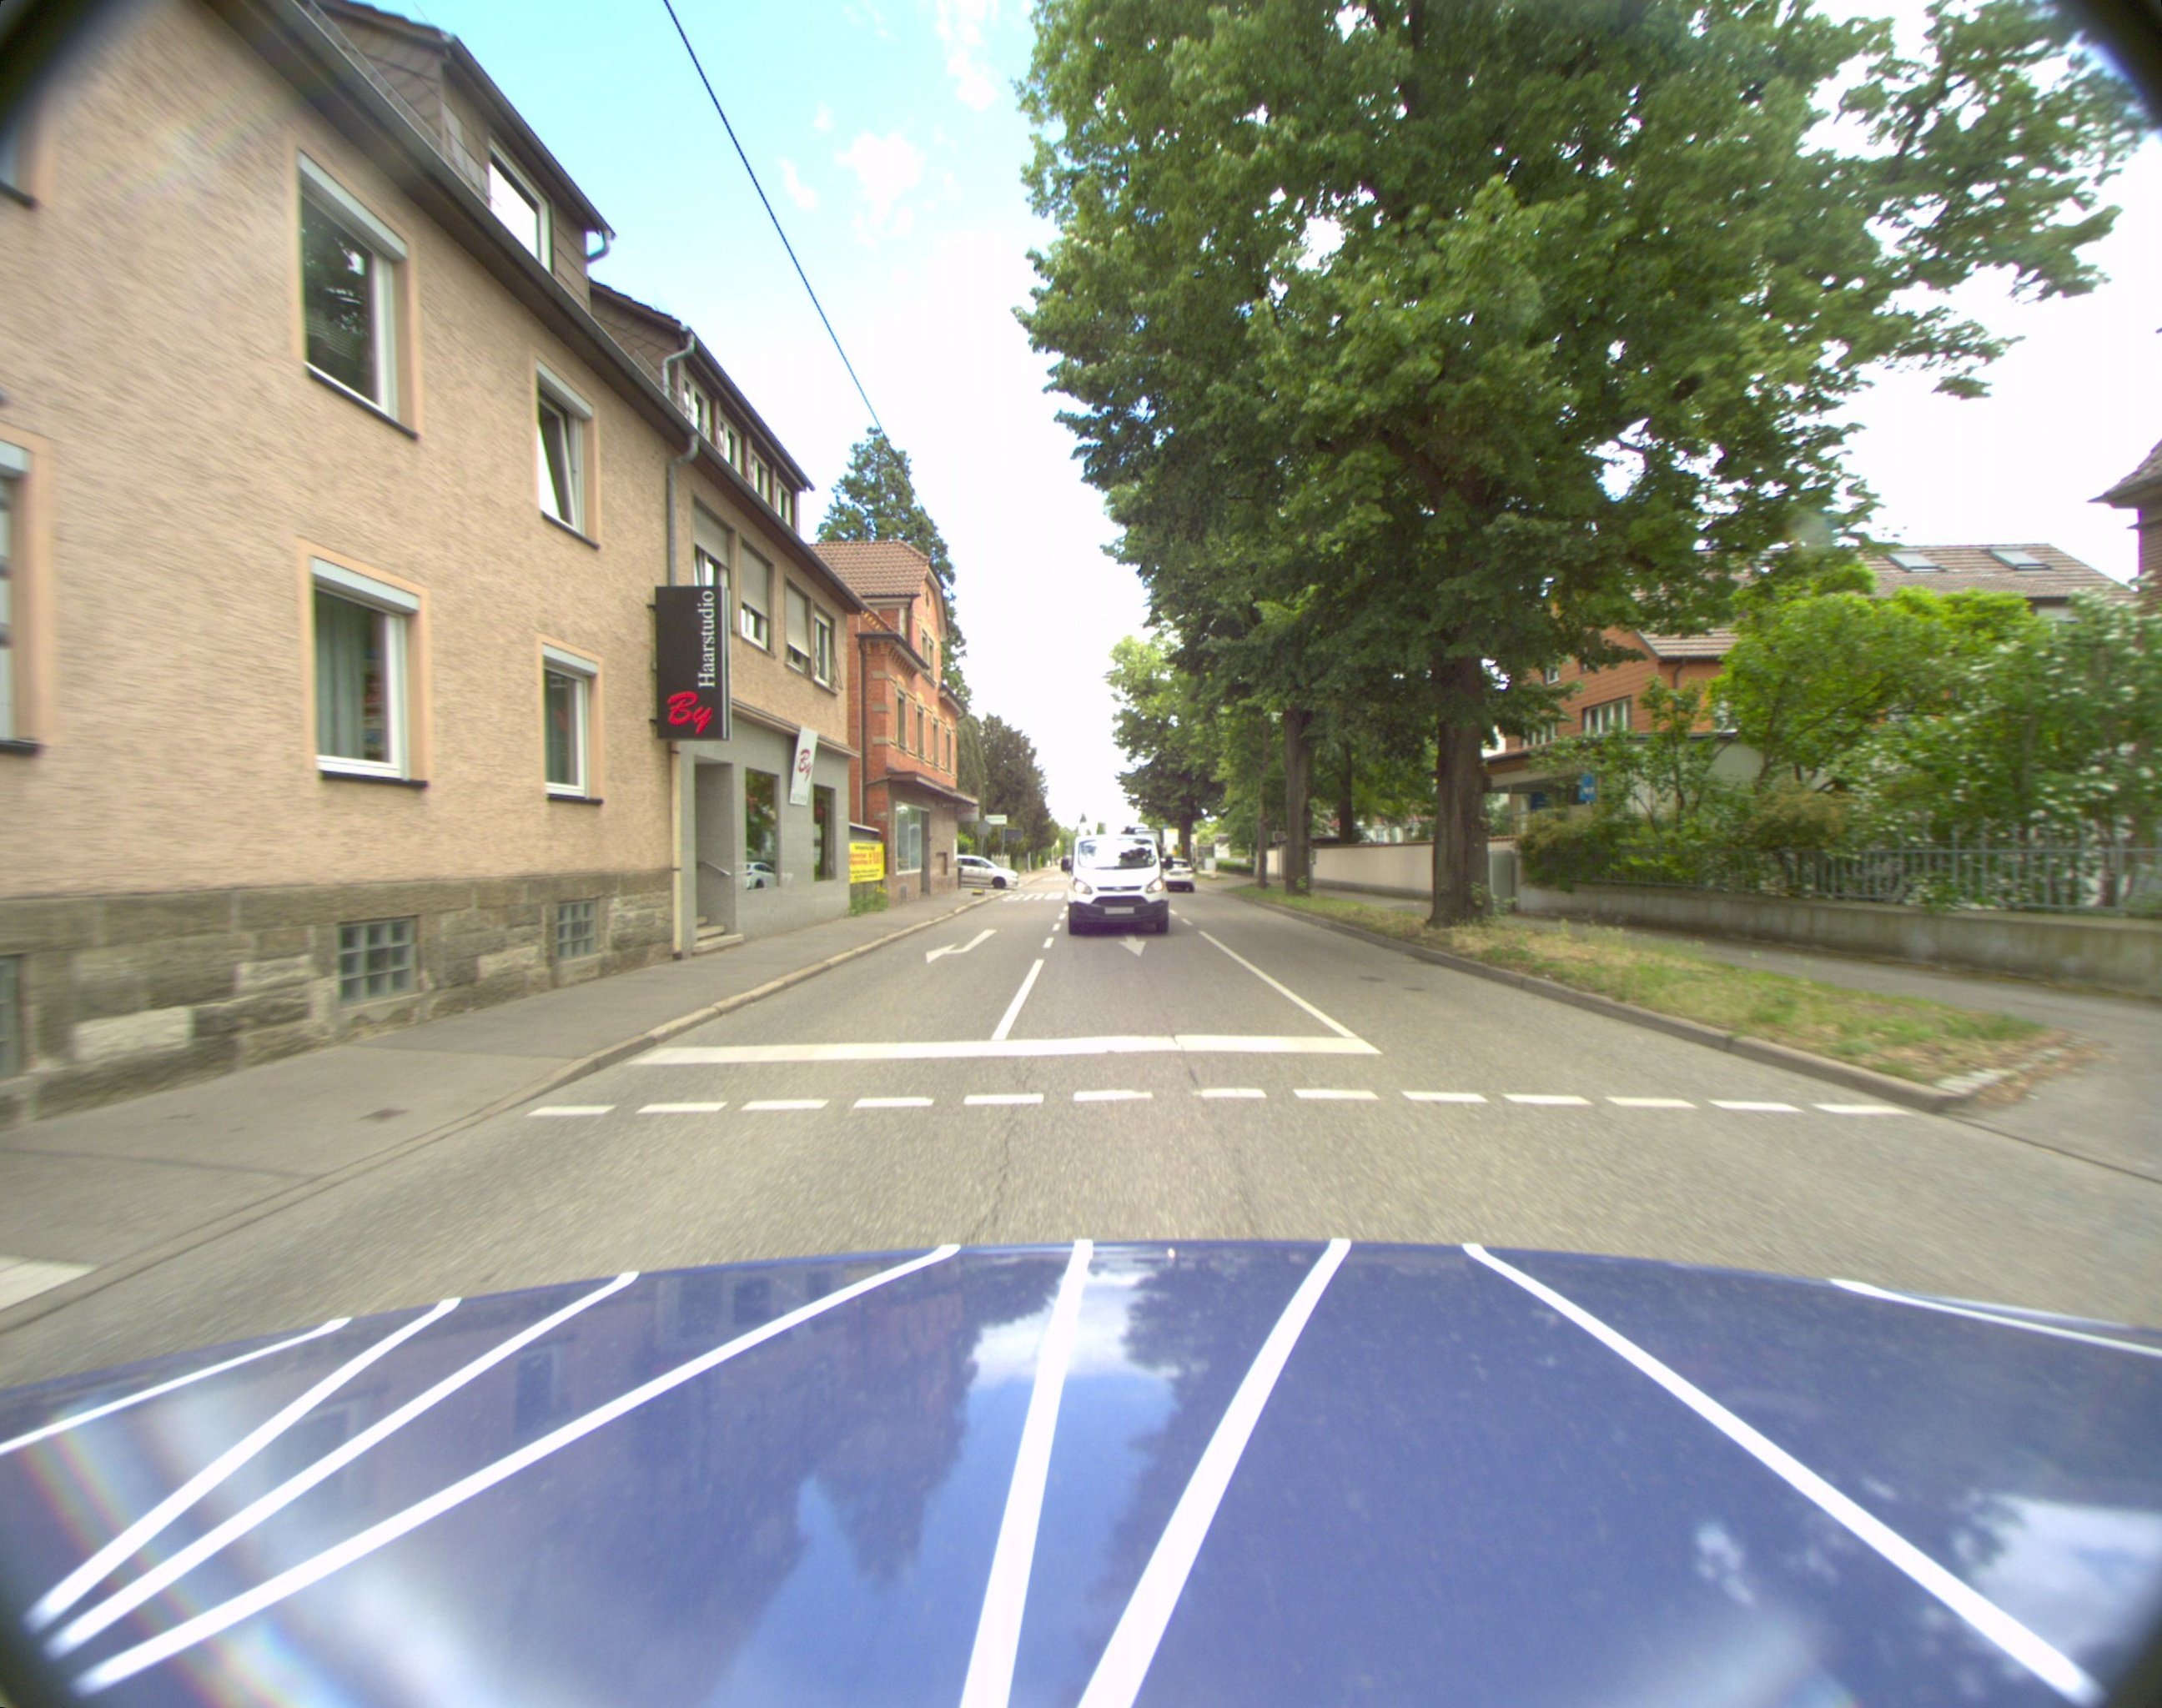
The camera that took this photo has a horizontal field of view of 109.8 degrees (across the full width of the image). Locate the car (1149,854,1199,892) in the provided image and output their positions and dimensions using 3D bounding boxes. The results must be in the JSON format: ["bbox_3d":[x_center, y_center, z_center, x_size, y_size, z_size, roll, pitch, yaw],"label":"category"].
[{"bbox_3d":[4.079,0.780,33.852,1.771,1.461,4.226,2,1,2],"label":"car"}]

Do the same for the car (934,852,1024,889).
[{"bbox_3d":[-4.830,0.764,36.305,4.039,1.462,1.600,3,1,-1],"label":"car"}]

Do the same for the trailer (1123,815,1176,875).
[{"bbox_3d":[4.761,-0.654,55.927,2.865,3.786,14.390,-2,1,1],"label":"trailer"}]

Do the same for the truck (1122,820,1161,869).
[{"bbox_3d":[4.941,-0.765,63.297,2.850,3.761,7.669,-2,1,2],"label":"truck"}]

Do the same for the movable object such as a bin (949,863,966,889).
[{"bbox_3d":[-5.420,0.975,33.314,0.608,1.094,0.622,1,1,1],"label":"movable object such as a bin"}]

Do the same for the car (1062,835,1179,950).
[{"bbox_3d":[0.694,0.643,16.173,1.998,1.961,5.714,-2,1,0],"label":"car"}]
